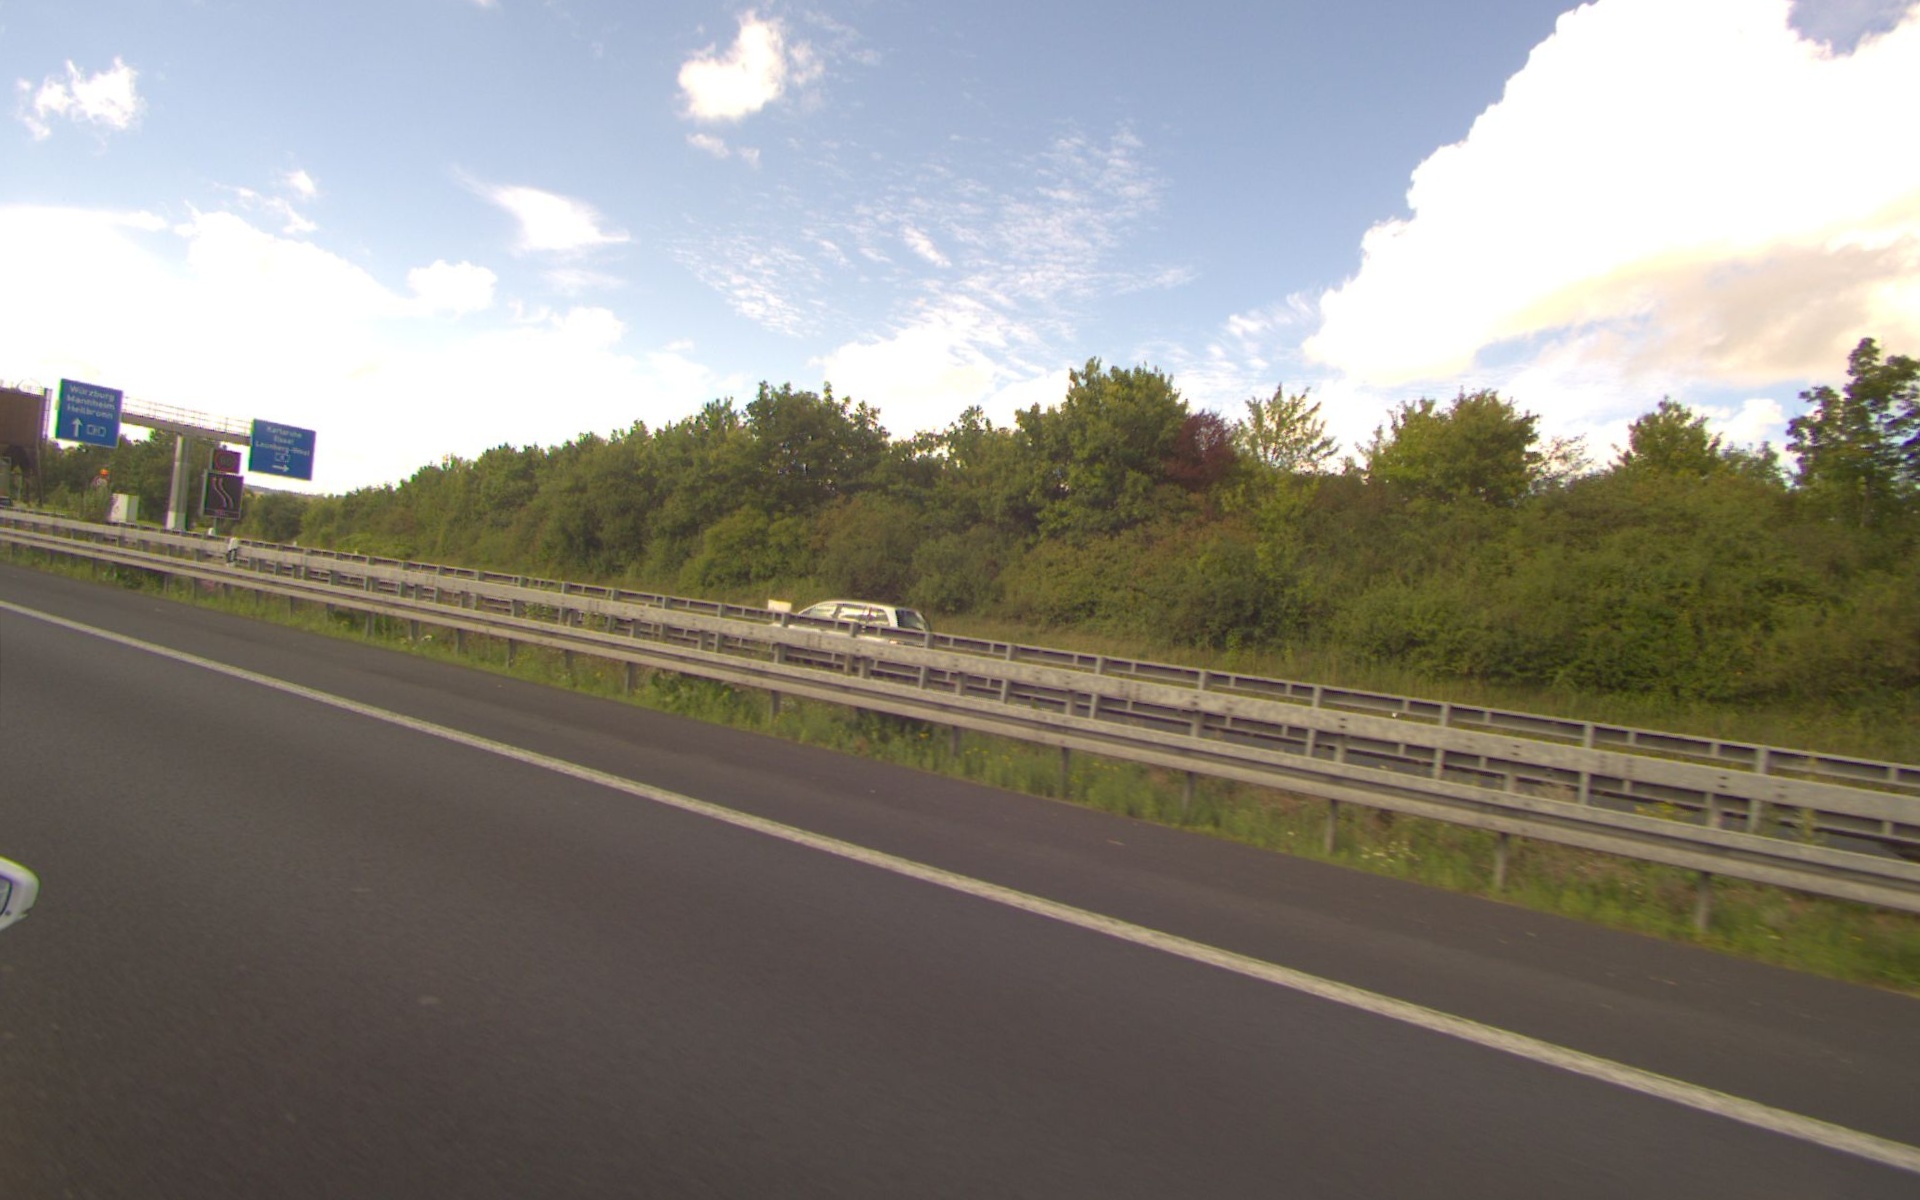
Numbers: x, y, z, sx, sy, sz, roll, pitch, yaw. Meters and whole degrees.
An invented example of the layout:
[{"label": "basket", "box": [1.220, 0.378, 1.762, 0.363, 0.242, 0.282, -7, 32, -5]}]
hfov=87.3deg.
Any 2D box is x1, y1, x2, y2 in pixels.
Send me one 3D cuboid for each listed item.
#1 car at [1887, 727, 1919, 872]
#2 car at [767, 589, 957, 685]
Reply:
[{"label": "car", "box": [11.969, 2.326, 9.739, 3.933, 1.502, 1.997, 6, 0, 31]}, {"label": "car", "box": [-2.319, 0.841, 23.683, 3.934, 1.730, 1.995, 6, 1, 32]}]
